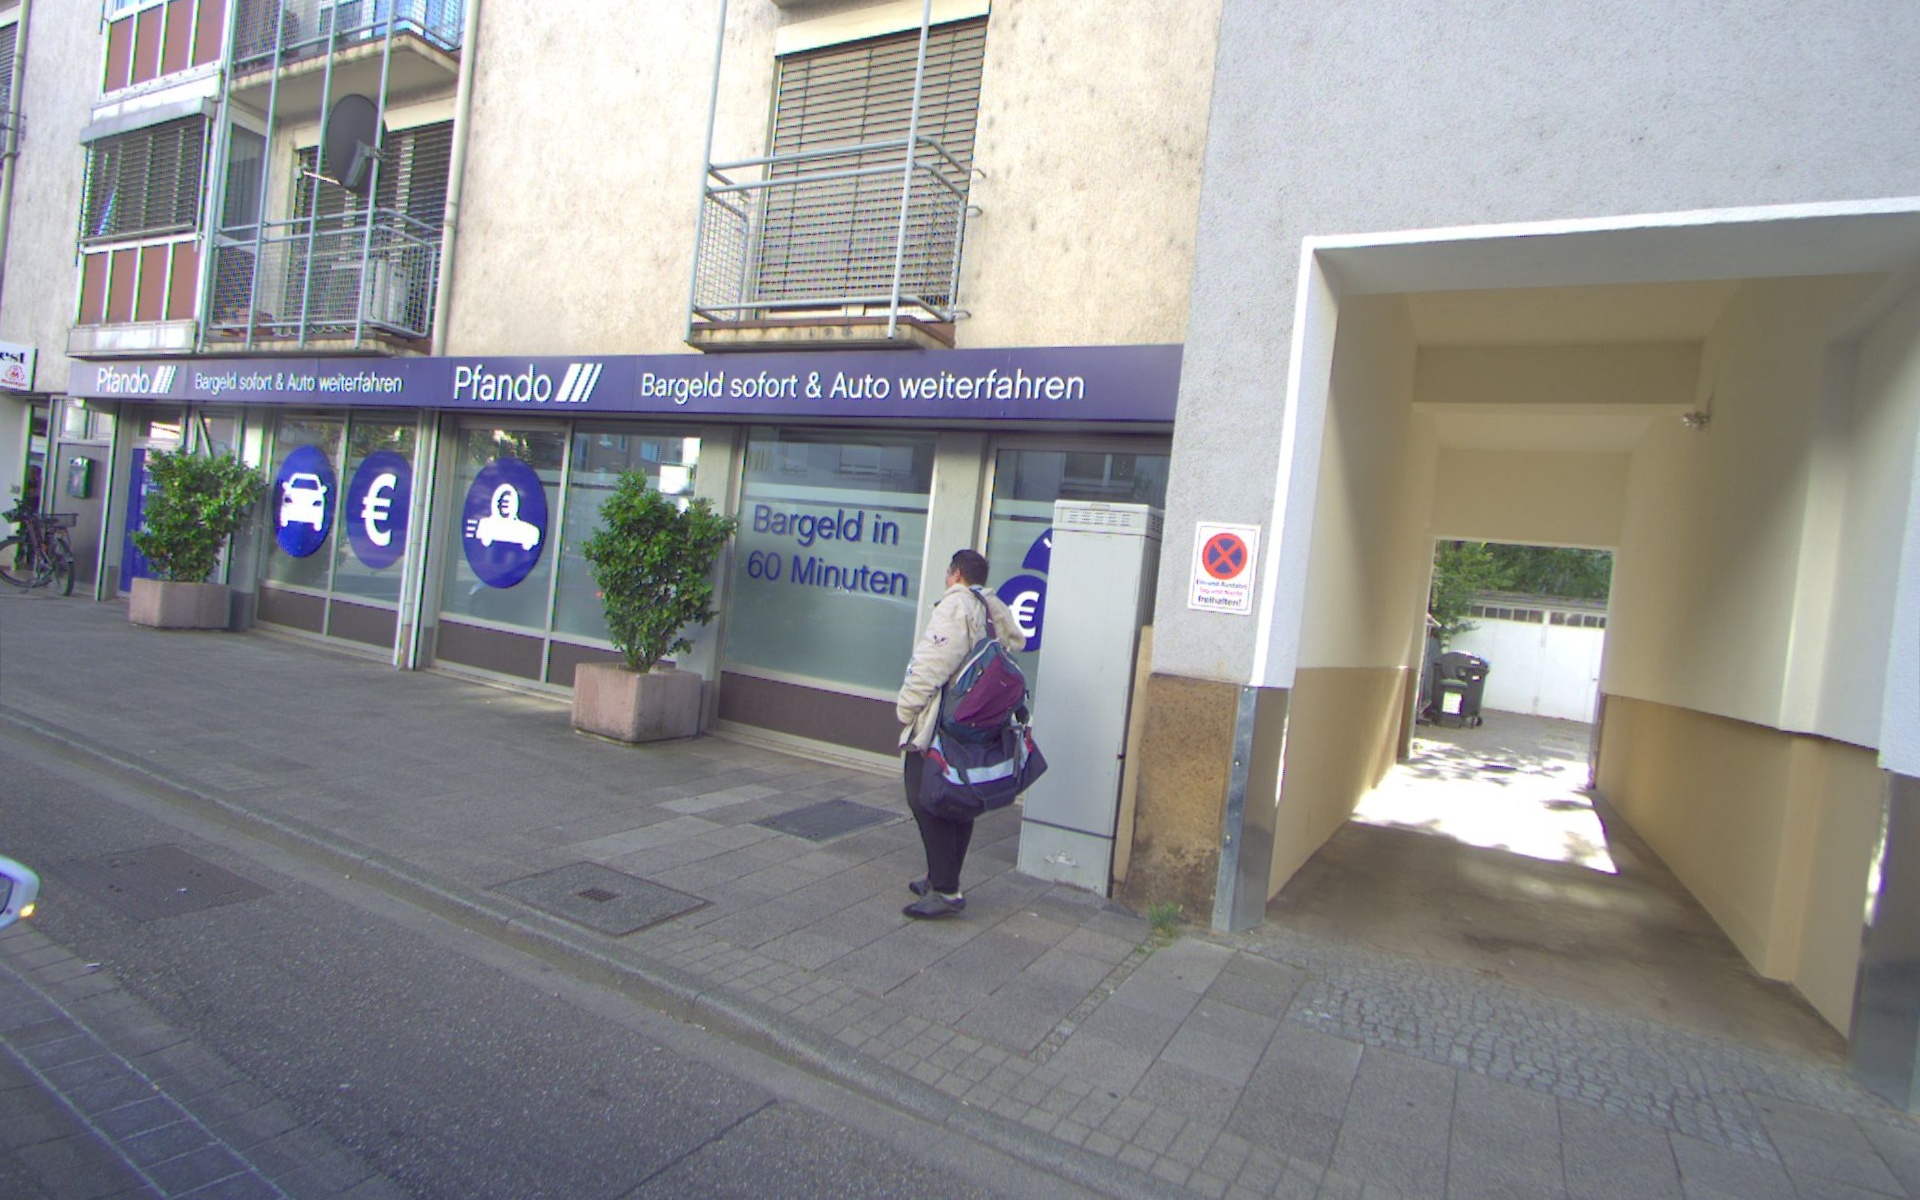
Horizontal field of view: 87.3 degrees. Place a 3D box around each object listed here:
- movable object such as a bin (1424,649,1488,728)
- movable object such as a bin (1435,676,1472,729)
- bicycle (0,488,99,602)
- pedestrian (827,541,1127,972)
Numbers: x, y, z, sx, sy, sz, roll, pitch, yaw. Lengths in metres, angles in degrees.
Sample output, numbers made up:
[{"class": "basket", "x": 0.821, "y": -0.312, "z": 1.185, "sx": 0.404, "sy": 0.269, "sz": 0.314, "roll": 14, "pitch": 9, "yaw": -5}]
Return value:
[{"class": "movable object such as a bin", "x": 10.103, "y": 1.782, "z": 20.462, "sx": 0.945, "sy": 1.426, "sz": 1.598, "roll": 7, "pitch": 1, "yaw": 29}, {"class": "movable object such as a bin", "x": 9.551, "y": 1.975, "z": 19.459, "sx": 0.518, "sy": 0.922, "sz": 0.580, "roll": 7, "pitch": 1, "yaw": 29}, {"class": "bicycle", "x": -11.853, "y": -0.731, "z": 12.883, "sx": 1.879, "sy": 1.280, "sz": 0.640, "roll": 7, "pitch": 1, "yaw": 32}, {"class": "pedestrian", "x": 0.093, "y": 0.605, "z": 4.424, "sx": 0.853, "sy": 1.593, "sz": 0.874, "roll": 8, "pitch": 3, "yaw": 29}]
